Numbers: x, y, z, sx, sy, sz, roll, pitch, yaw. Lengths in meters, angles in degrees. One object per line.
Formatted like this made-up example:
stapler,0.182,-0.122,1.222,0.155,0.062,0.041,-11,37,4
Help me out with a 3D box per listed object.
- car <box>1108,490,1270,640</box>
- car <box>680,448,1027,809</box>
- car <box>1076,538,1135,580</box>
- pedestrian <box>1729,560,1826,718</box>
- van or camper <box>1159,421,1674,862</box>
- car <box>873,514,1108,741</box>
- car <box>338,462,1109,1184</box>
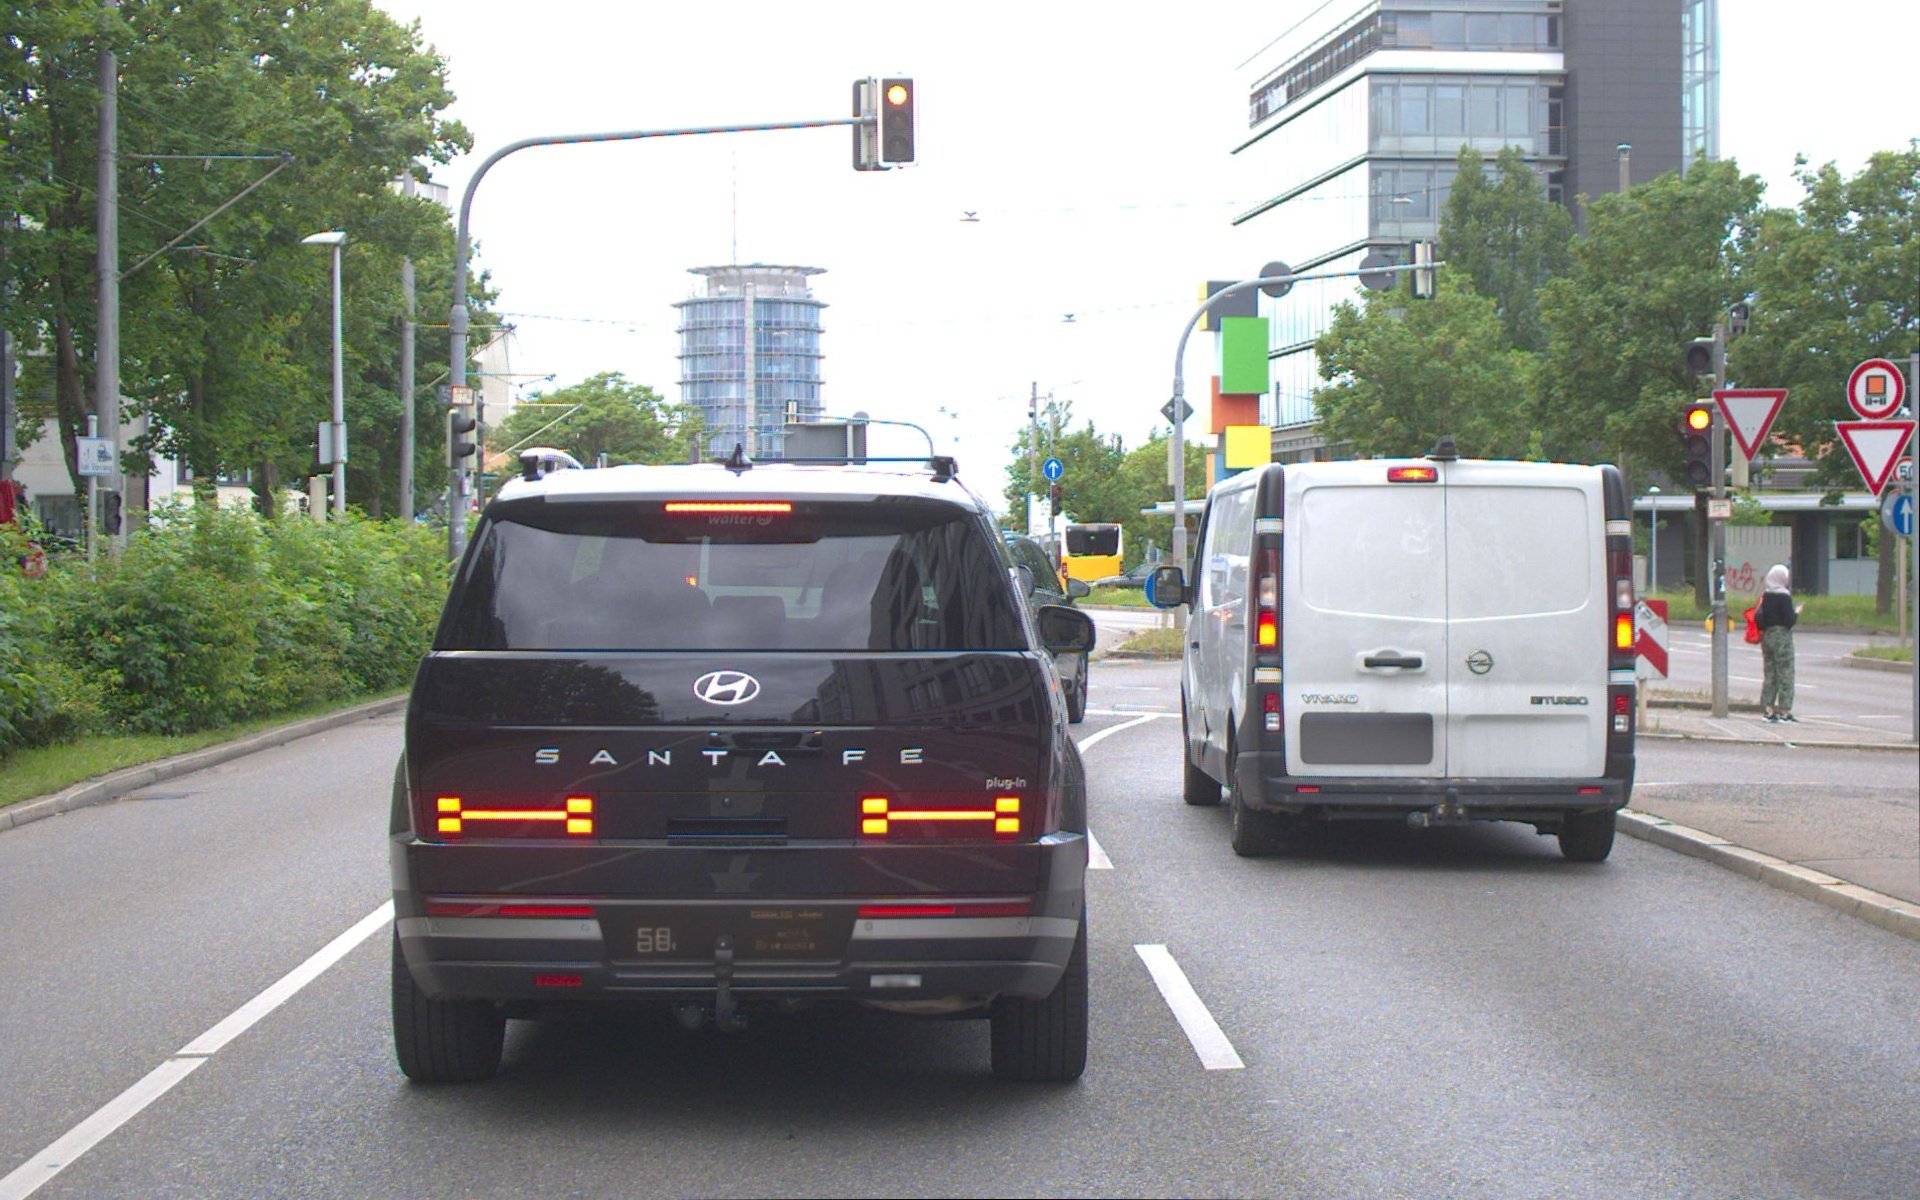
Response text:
car,3.184,-0.482,48.523,1.993,2.007,4.000,1,0,0
car,-0.628,0.126,20.935,1.915,1.996,3.880,0,1,-1
car,5.928,-1.669,140.276,1.993,1.678,4.001,1,0,-4
pedestrian,8.329,0.395,35.016,0.738,1.579,0.573,1,1,-41
van or camper,2.236,0.155,18.163,1.993,2.007,4.653,1,1,-1
car,0.255,0.197,28.443,1.776,1.711,4.338,1,0,1
car,-0.608,0.509,10.290,1.869,1.754,3.880,0,1,-1
